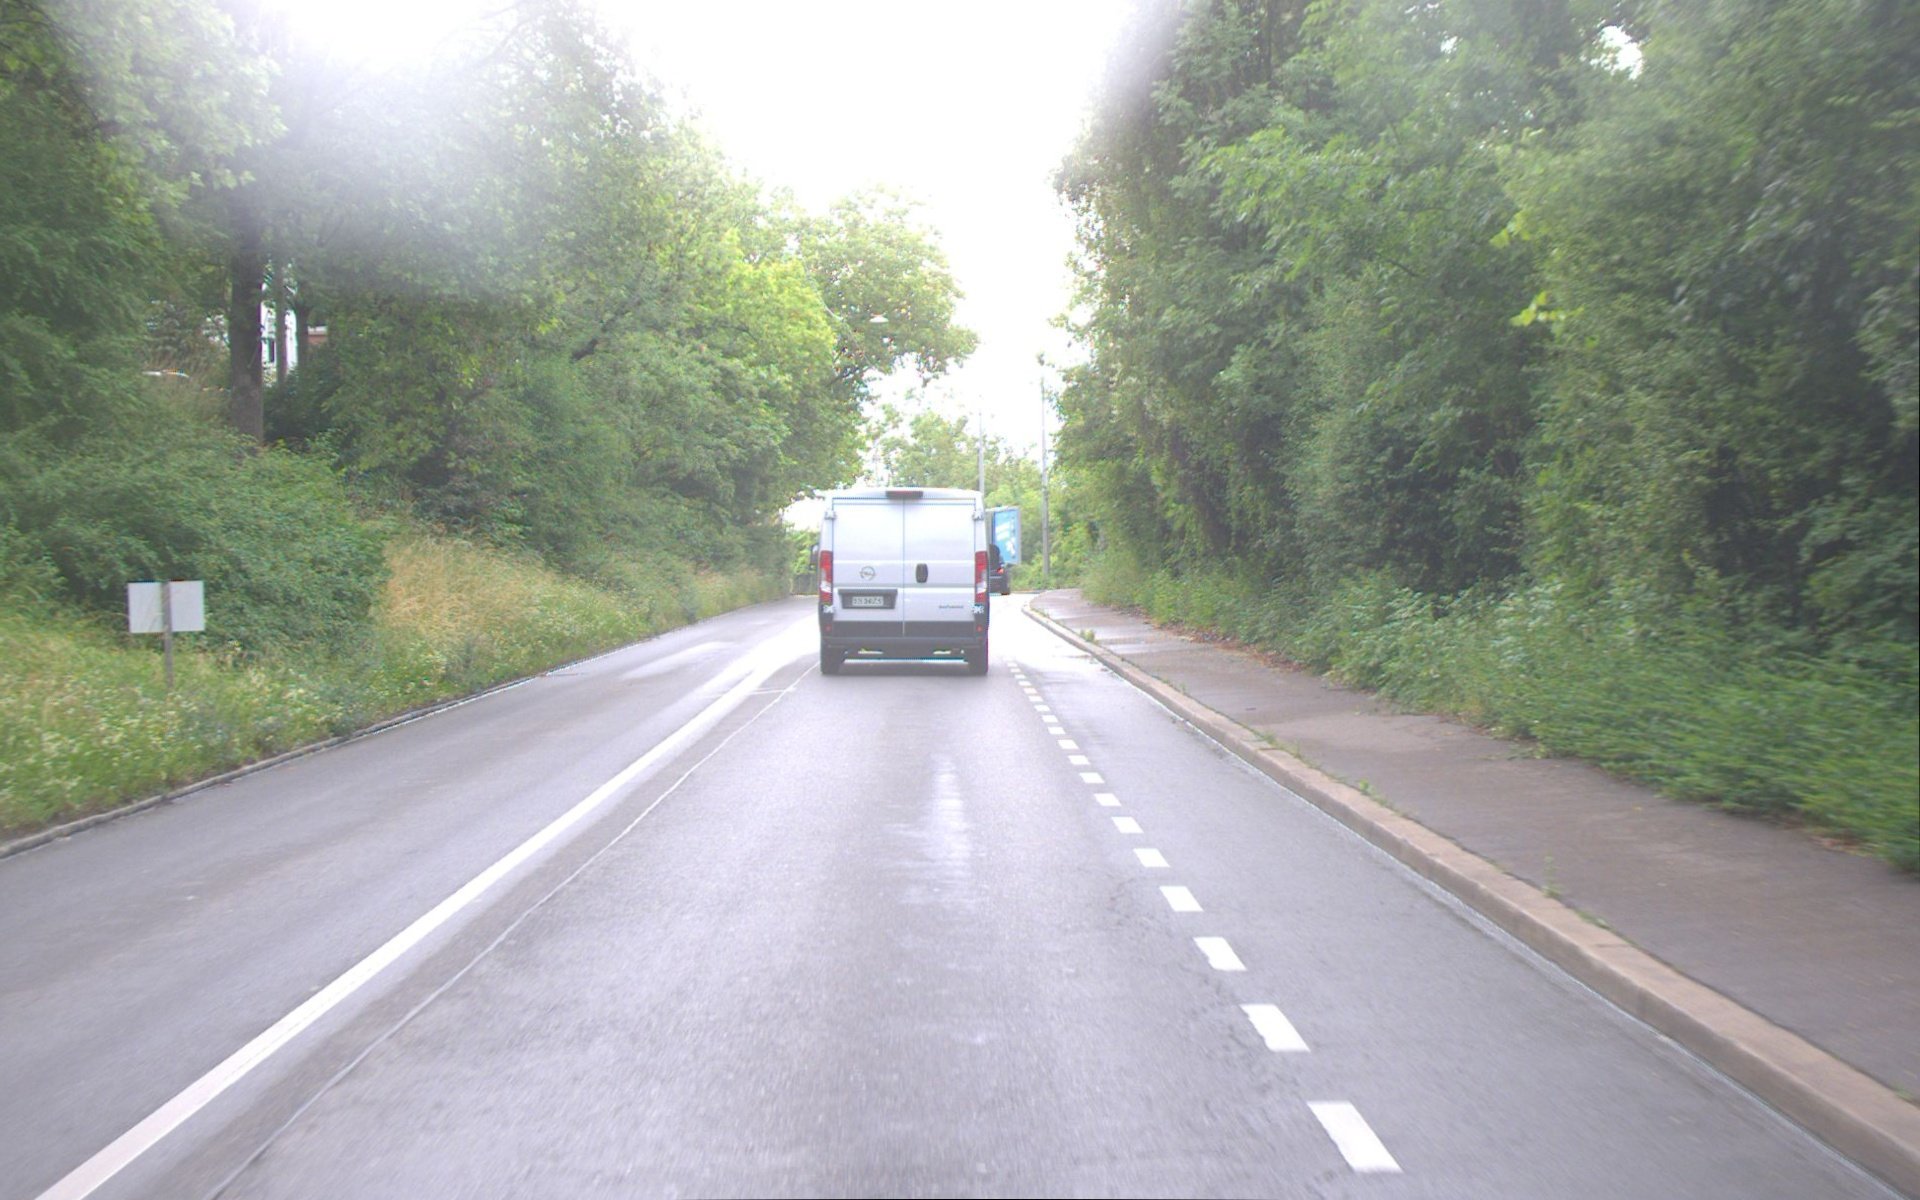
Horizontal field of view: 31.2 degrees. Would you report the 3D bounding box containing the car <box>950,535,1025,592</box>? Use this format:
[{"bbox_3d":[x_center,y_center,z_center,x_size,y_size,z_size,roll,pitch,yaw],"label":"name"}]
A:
[{"bbox_3d":[0.869,-1.188,112.510,2.237,1.798,4.714,1,1,-2],"label":"car"}]

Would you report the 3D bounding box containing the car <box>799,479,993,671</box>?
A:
[{"bbox_3d":[-0.774,-0.318,42.523,2.237,2.205,4.713,1,1,-1],"label":"car"}]
